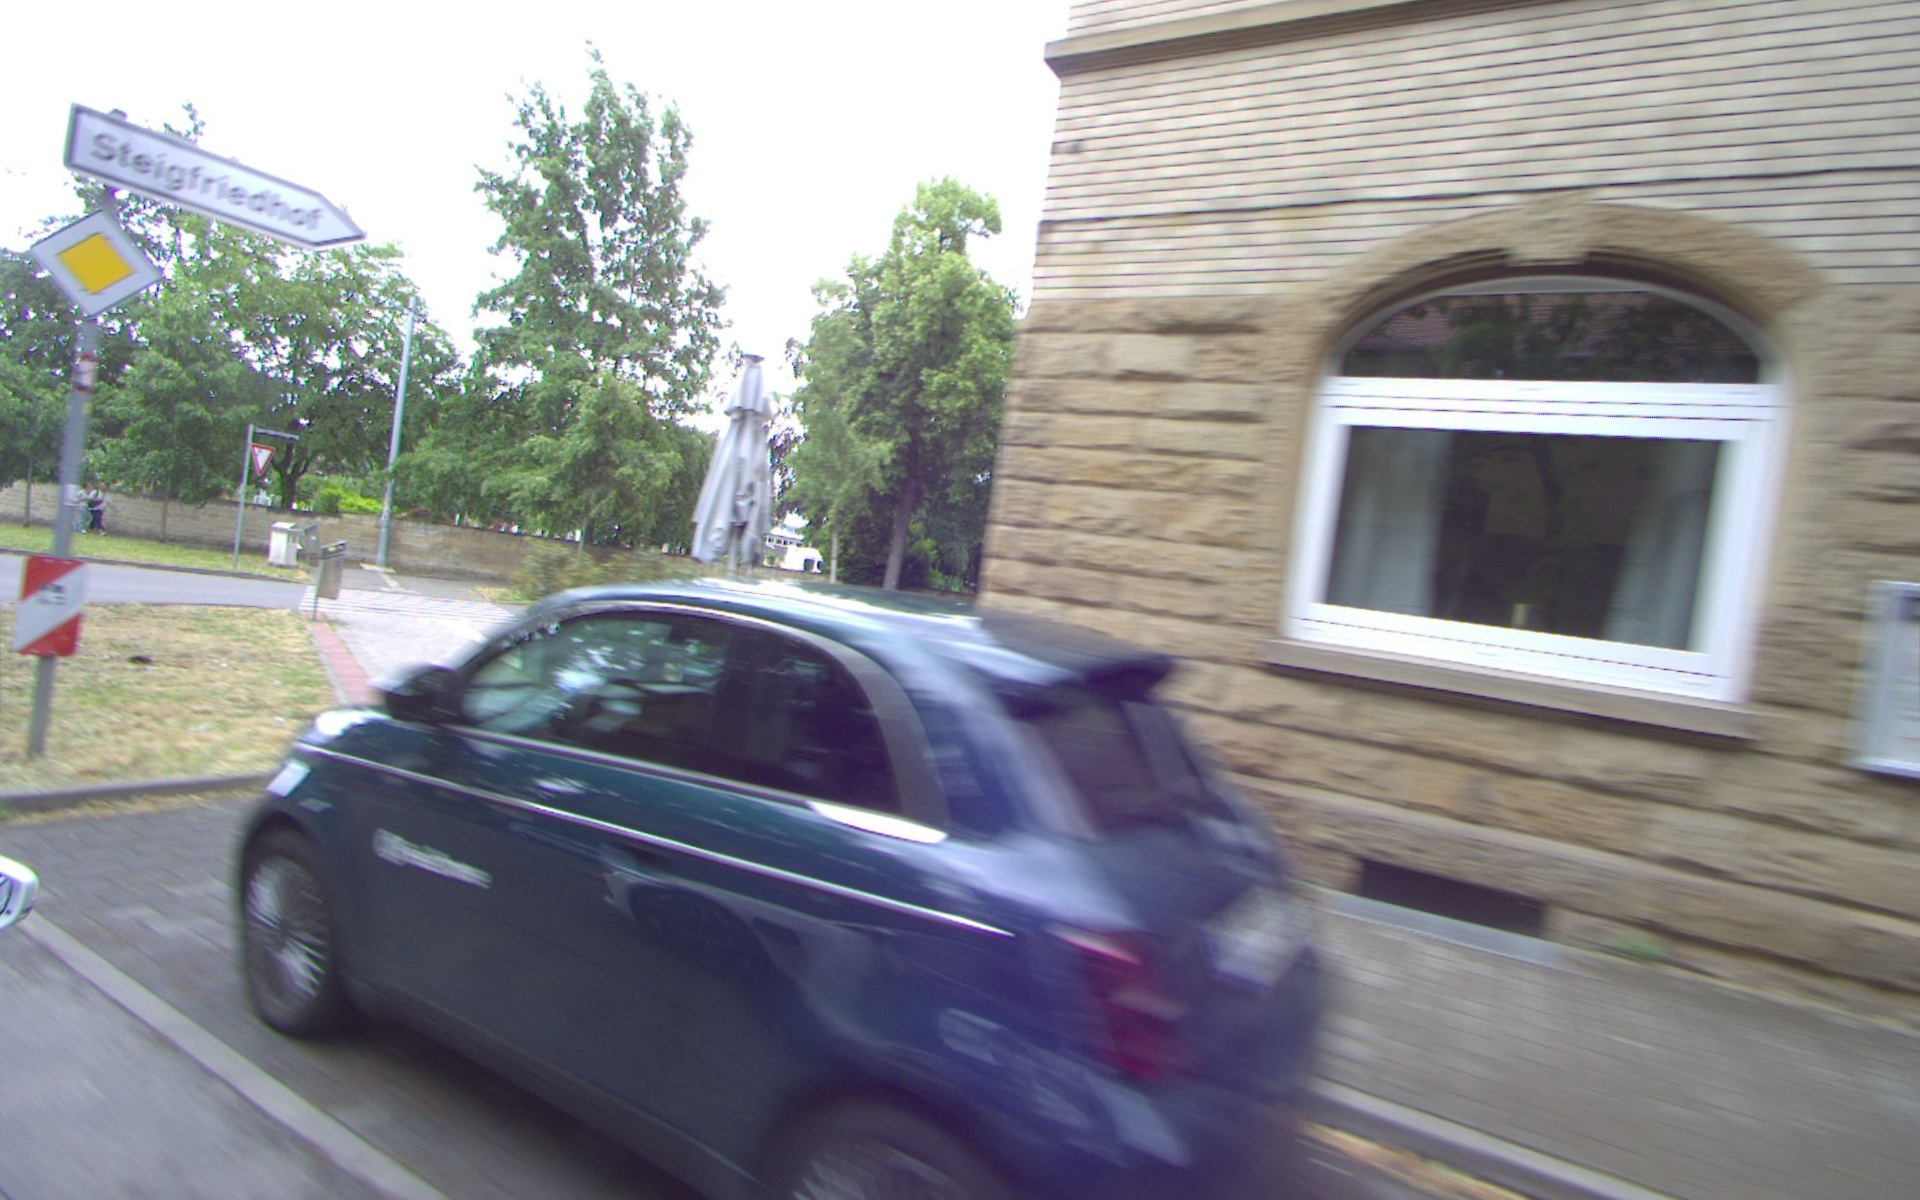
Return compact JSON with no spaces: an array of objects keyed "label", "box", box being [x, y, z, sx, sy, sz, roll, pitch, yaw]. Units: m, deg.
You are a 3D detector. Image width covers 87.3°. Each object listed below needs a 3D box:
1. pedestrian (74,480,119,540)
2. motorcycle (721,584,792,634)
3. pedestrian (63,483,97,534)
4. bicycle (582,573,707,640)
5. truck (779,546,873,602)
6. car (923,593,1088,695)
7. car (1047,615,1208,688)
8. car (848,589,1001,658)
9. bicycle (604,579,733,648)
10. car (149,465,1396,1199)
[{"label":"pedestrian","box":[-27.163,-2.826,31.651,0.649,1.756,0.711,7,1,-2]},{"label":"motorcycle","box":[-5.909,0.272,29.298,0.553,1.183,1.991,6,-3,41]},{"label":"pedestrian","box":[-29.388,-3.063,33.599,0.564,1.607,0.581,6,3,3]},{"label":"bicycle","box":[-6.064,0.145,19.416,2.171,1.079,0.594,6,1,-42]},{"label":"truck","box":[-8.426,-1.673,62.862,5.679,2.867,2.216,6,-2,38]},{"label":"car","box":[0.783,0.816,20.674,1.969,1.616,4.358,6,0,-16]},{"label":"car","box":[5.072,1.541,30.796,4.298,1.615,1.997,8,-1,-9]},{"label":"car","box":[-1.097,0.676,30.023,4.208,1.517,1.808,7,0,-12]},{"label":"bicycle","box":[-5.362,0.260,18.600,2.171,1.079,0.594,6,1,-42]},{"label":"car","box":[-0.760,0.584,3.157,3.593,1.630,1.567,7,1,31]}]
